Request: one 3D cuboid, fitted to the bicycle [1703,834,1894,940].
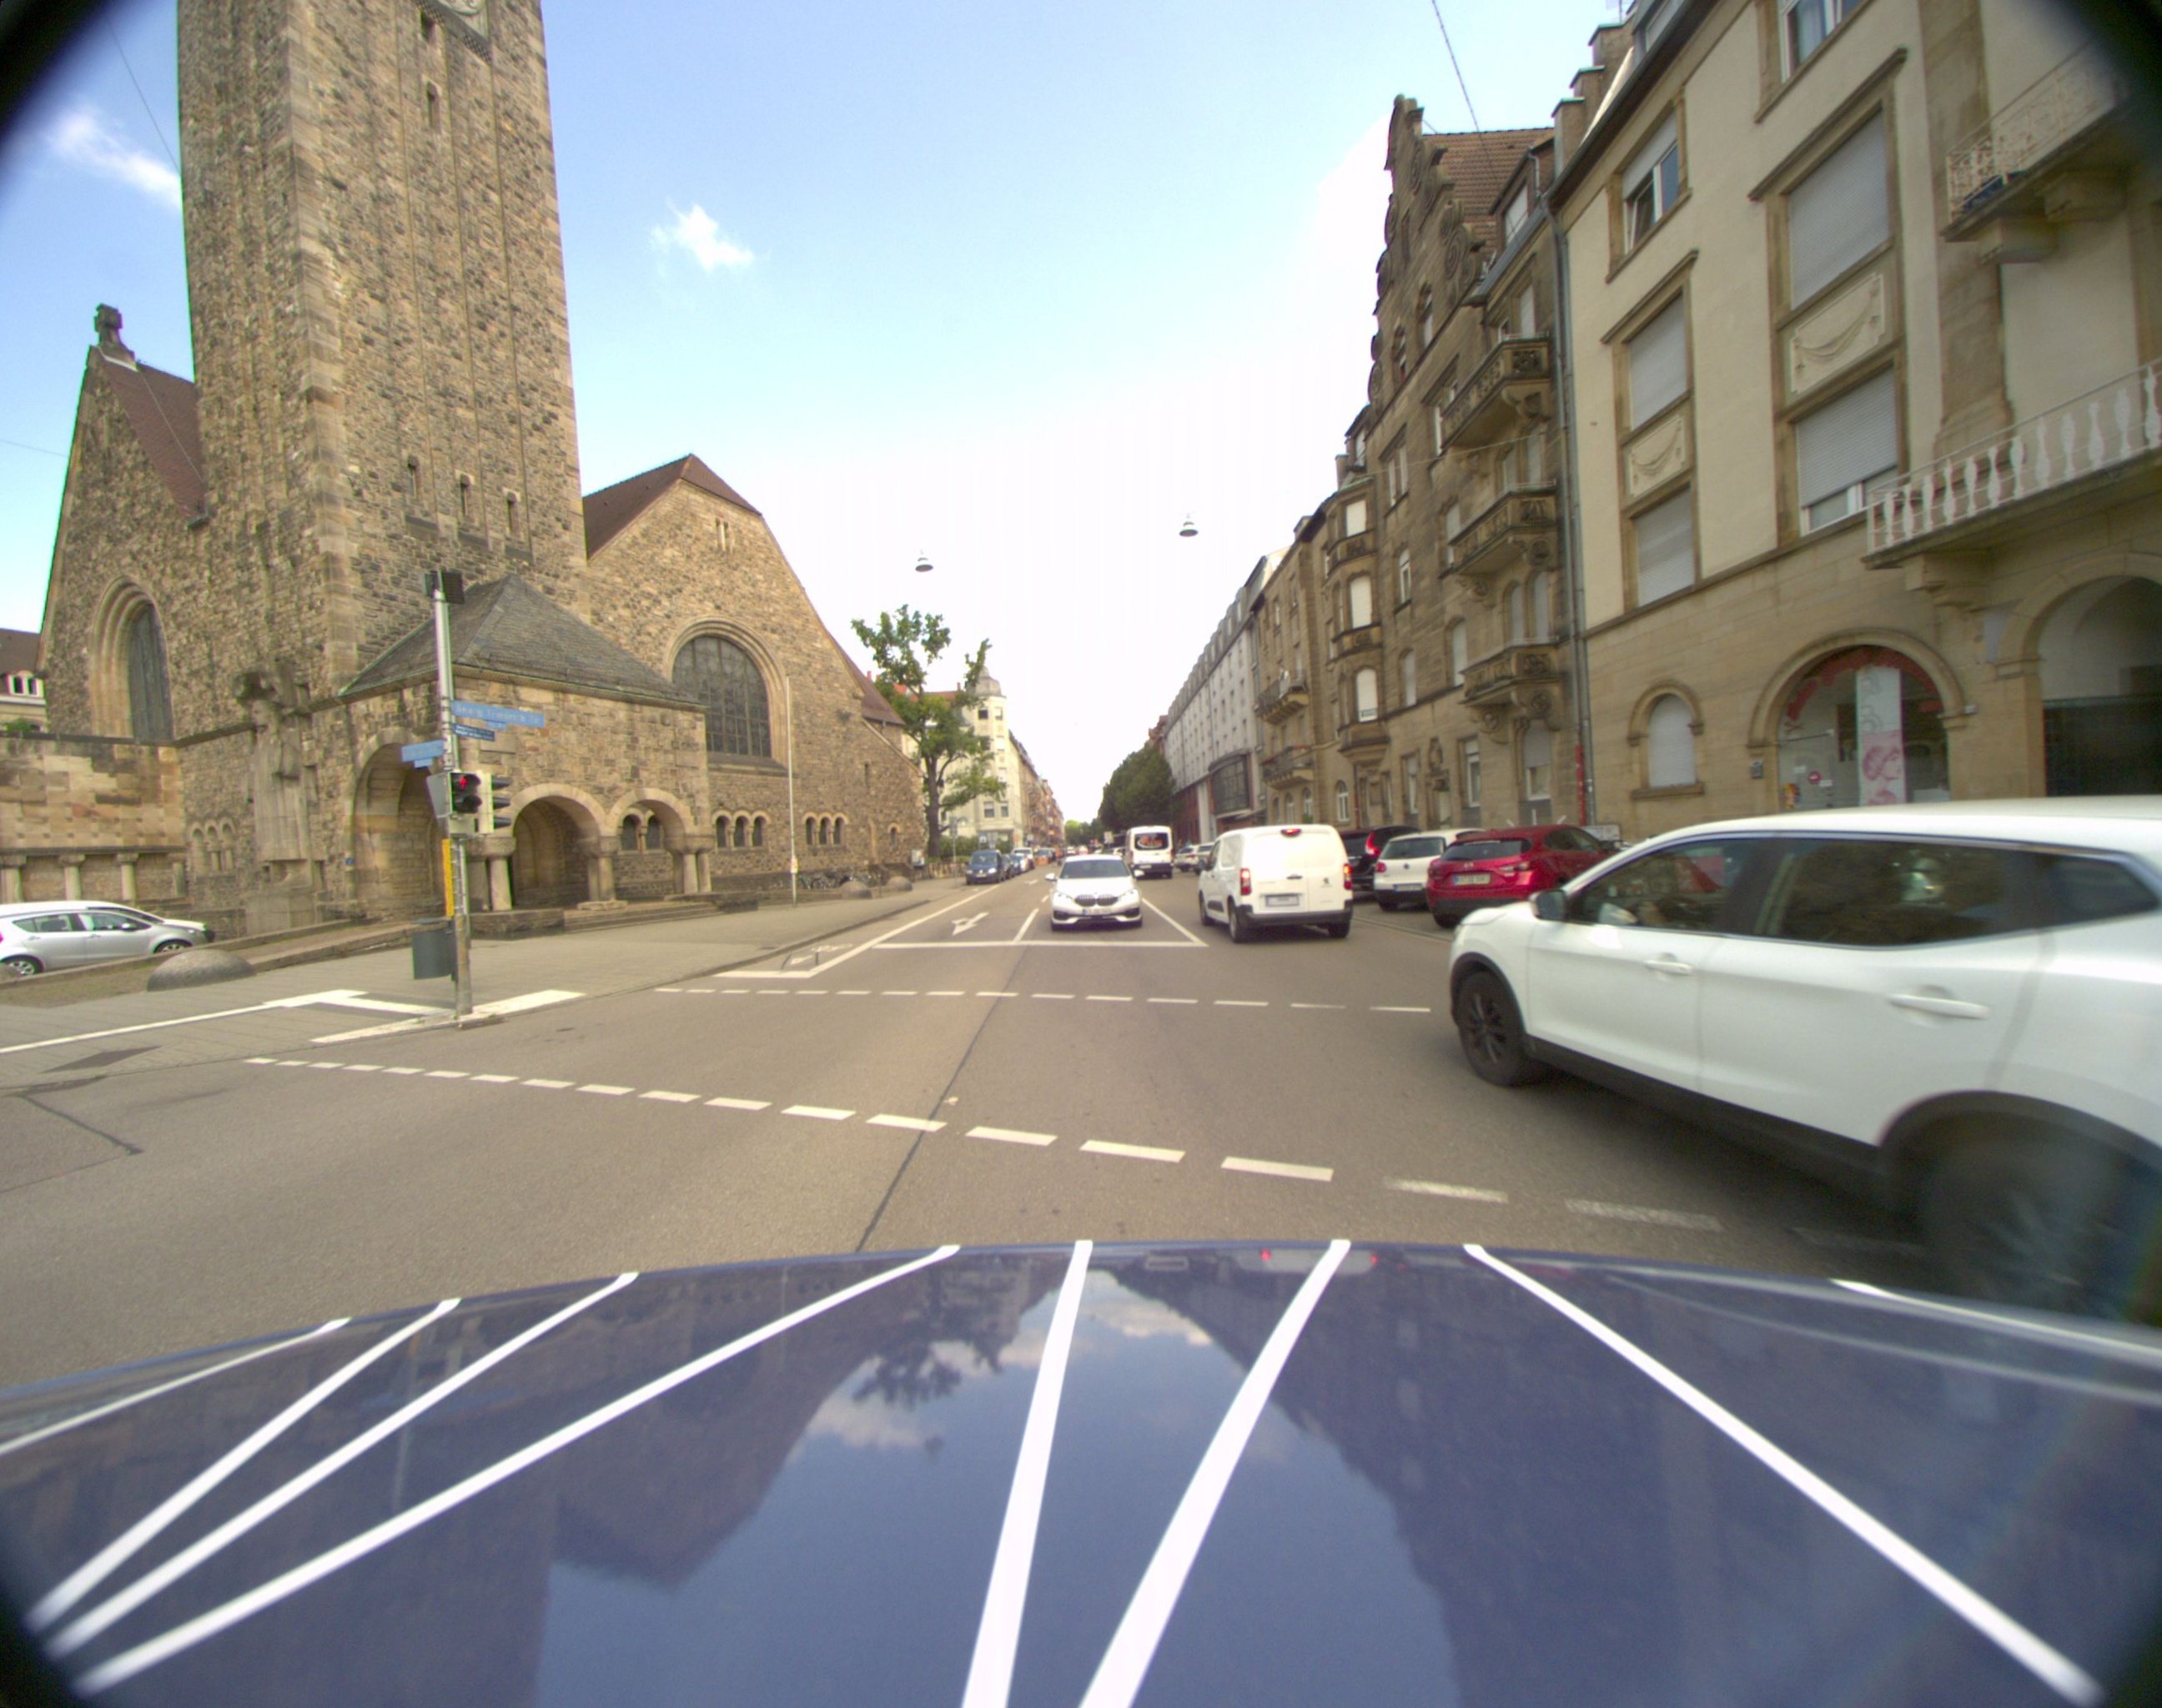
[{"bbox_3d":[8.353,0.373,8.882,1.631,1.046,0.558,-6,1,-1],"label":"bicycle"}]

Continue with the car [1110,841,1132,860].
[{"bbox_3d":[3.736,-0.350,72.197,1.891,1.642,3.890,-4,1,2],"label":"car"}]

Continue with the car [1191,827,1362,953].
[{"bbox_3d":[3.187,0.542,13.306,1.817,1.765,4.283,-3,0,0],"label":"car"}]

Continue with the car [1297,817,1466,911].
[{"bbox_3d":[7.089,0.201,17.758,3.960,1.680,1.799,-7,0,-39],"label":"car"}]

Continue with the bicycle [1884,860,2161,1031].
[{"bbox_3d":[6.717,0.606,5.124,1.733,1.046,0.531,-3,1,17],"label":"bicycle"}]

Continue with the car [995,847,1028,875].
[{"bbox_3d":[-4.801,0.427,52.775,1.683,1.781,4.000,-4,1,2],"label":"car"}]

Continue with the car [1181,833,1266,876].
[{"bbox_3d":[6.939,0.020,36.798,3.960,1.576,1.727,-7,0,-39],"label":"car"}]

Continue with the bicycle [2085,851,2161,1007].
[{"bbox_3d":[8.344,0.470,5.356,1.612,1.046,0.481,-6,1,8],"label":"bicycle"}]

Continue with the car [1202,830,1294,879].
[{"bbox_3d":[7.387,0.010,33.462,3.959,1.576,1.727,-8,2,-39],"label":"car"}]

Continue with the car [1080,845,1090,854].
[{"bbox_3d":[0.794,-0.935,152.586,1.809,1.590,4.186,-4,1,2],"label":"car"}]

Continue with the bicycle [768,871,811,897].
[{"bbox_3d":[-13.480,1.375,35.109,1.935,1.106,0.587,0,3,22],"label":"bicycle"}]

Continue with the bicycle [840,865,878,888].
[{"bbox_3d":[-11.560,1.164,39.559,1.935,1.106,0.587,0,3,22],"label":"bicycle"}]

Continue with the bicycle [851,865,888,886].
[{"bbox_3d":[-11.216,1.128,40.286,1.935,1.106,0.587,0,3,22],"label":"bicycle"}]

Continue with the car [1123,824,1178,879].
[{"bbox_3d":[3.337,-0.094,37.873,2.081,2.430,5.945,-2,0,0],"label":"car"}]

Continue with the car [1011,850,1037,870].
[{"bbox_3d":[-4.692,0.456,62.924,1.683,1.488,3.890,-4,1,2],"label":"car"}]

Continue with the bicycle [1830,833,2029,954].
[{"bbox_3d":[8.592,0.385,7.718,1.483,1.046,0.462,-6,1,-2],"label":"bicycle"}]

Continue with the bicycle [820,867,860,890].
[{"bbox_3d":[-12.105,1.228,38.099,1.935,1.106,0.587,0,3,22],"label":"bicycle"}]

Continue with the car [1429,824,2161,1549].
[{"bbox_3d":[3.243,0.711,2.979,1.775,1.573,4.019,-3,1,-2],"label":"car"}]

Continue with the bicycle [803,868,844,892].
[{"bbox_3d":[-12.627,1.278,37.239,1.935,1.106,0.587,0,3,22],"label":"bicycle"}]

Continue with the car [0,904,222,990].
[{"bbox_3d":[-24.105,2.220,18.576,1.815,1.668,3.643,-5,-1,22],"label":"car"}]

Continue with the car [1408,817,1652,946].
[{"bbox_3d":[7.111,0.361,11.895,4.005,1.448,1.808,-7,1,-37],"label":"car"}]

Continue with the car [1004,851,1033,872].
[{"bbox_3d":[-4.690,0.554,57.471,1.683,1.438,3.798,-4,1,2],"label":"car"}]

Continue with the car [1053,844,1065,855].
[{"bbox_3d":[-4.105,-0.784,142.378,1.809,1.901,4.186,-4,1,2],"label":"car"}]

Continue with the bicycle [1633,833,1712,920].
[{"bbox_3d":[8.489,0.299,10.878,1.907,1.046,0.556,-6,1,-44],"label":"bicycle"}]

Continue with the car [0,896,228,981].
[{"bbox_3d":[-26.909,2.252,20.753,1.996,1.842,4.312,-5,-1,25],"label":"car"}]

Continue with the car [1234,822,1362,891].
[{"bbox_3d":[7.138,0.073,24.900,3.959,1.857,1.727,-6,1,-33],"label":"car"}]

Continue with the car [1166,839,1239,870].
[{"bbox_3d":[6.803,0.025,42.456,3.961,1.465,1.727,-4,1,-39],"label":"car"}]

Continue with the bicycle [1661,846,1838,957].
[{"bbox_3d":[7.243,0.503,8.260,1.483,1.046,0.462,-5,1,-2],"label":"bicycle"}]

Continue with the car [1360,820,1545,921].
[{"bbox_3d":[7.420,0.285,15.033,3.960,1.448,1.727,-7,0,-40],"label":"car"}]

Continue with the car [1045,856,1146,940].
[{"bbox_3d":[0.329,0.827,16.306,1.826,1.440,4.386,-2,1,2],"label":"car"}]

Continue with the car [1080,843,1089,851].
[{"bbox_3d":[0.756,-1.431,160.096,1.809,1.590,4.186,-4,1,2],"label":"car"}]

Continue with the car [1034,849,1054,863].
[{"bbox_3d":[-4.111,0.218,85.505,1.809,1.360,4.186,-4,1,2],"label":"car"}]

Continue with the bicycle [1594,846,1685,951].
[{"bbox_3d":[6.784,0.501,9.187,0.556,1.046,1.815,-5,1,45],"label":"bicycle"}]

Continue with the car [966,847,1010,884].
[{"bbox_3d":[-5.002,0.592,41.270,1.683,1.781,4.145,-4,1,2],"label":"car"}]

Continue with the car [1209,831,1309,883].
[{"bbox_3d":[7.222,0.097,30.668,3.959,1.576,1.727,-8,2,-39],"label":"car"}]

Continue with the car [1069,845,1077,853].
[{"bbox_3d":[-1.912,-1.266,185.110,1.809,1.654,4.186,-4,1,2],"label":"car"}]

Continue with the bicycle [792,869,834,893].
[{"bbox_3d":[-12.909,1.309,36.579,1.935,1.106,0.587,0,3,22],"label":"bicycle"}]

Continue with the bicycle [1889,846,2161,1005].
[{"bbox_3d":[7.390,0.537,5.863,1.580,1.046,0.481,-6,1,8],"label":"bicycle"}]

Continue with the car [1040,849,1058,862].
[{"bbox_3d":[-3.862,0.140,91.138,1.809,1.360,4.186,-4,1,2],"label":"car"}]

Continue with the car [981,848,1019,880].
[{"bbox_3d":[-4.935,0.551,46.504,1.683,1.781,4.000,-4,1,2],"label":"car"}]

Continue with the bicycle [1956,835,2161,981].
[{"bbox_3d":[8.469,0.439,6.319,1.580,1.046,0.481,-6,1,8],"label":"bicycle"}]

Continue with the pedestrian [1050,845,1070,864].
[{"bbox_3d":[-2.085,0.082,74.333,1.316,1.747,1.370,-4,1,-37],"label":"pedestrian"}]

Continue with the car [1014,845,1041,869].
[{"bbox_3d":[-4.679,0.203,67.273,1.844,1.927,4.186,-4,1,2],"label":"car"}]
